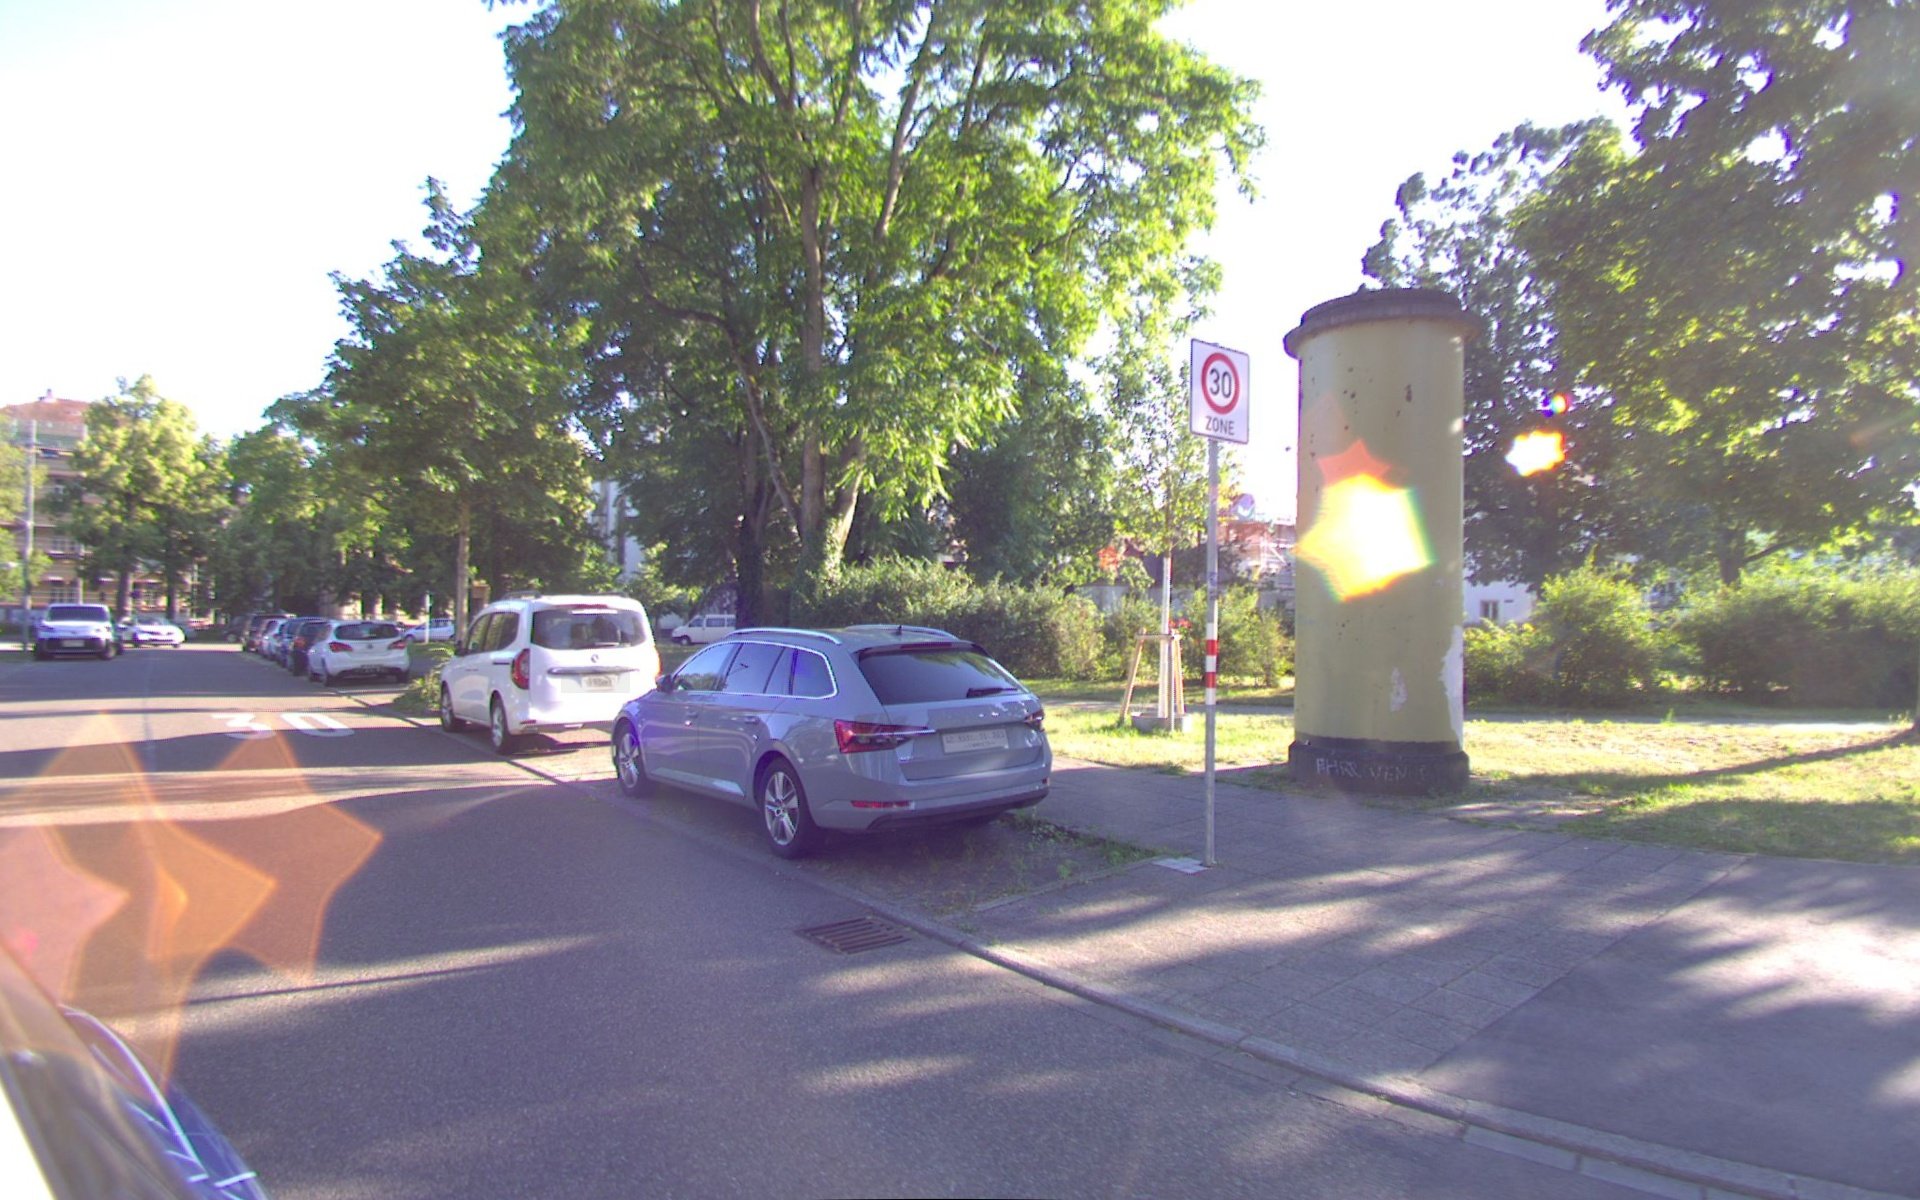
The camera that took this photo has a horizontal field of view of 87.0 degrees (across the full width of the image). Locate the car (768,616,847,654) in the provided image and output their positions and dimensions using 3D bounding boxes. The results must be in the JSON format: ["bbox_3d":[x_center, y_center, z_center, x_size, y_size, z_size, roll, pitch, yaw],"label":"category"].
[{"bbox_3d":[-9.304,2.128,62.224,4.699,2.239,1.854,1,-1,-5],"label":"car"}]

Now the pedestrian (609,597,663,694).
[{"bbox_3d":[-6.065,0.836,18.916,0.705,1.750,0.749,2,-2,-38],"label":"pedestrian"}]

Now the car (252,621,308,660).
[{"bbox_3d":[-27.985,1.648,41.600,1.690,1.521,3.687,2,-2,-37],"label":"car"}]

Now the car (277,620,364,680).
[{"bbox_3d":[-17.686,1.339,27.920,1.690,1.521,3.687,2,-2,-38],"label":"car"}]

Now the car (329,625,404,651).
[{"bbox_3d":[-35.638,2.253,60.844,3.521,1.509,1.691,1,-1,-4],"label":"car"}]

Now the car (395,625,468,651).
[{"bbox_3d":[-31.691,2.256,60.729,3.521,1.509,1.691,1,-1,-4],"label":"car"}]

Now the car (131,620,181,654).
[{"bbox_3d":[-38.775,1.756,48.835,1.754,1.547,4.355,2,-2,-38],"label":"car"}]

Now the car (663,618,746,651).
[{"bbox_3d":[-15.504,2.093,61.589,4.701,1.931,1.798,1,-1,-4],"label":"car"}]

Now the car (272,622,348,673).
[{"bbox_3d":[-20.642,1.467,32.083,1.690,1.521,3.687,2,-2,-37],"label":"car"}]

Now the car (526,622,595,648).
[{"bbox_3d":[-24.084,2.104,61.093,3.521,1.509,1.676,0,-1,-4],"label":"car"}]

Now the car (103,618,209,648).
[{"bbox_3d":[-48.379,1.998,60.989,4.446,1.697,2.286,1,-4,-3],"label":"car"}]

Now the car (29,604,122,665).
[{"bbox_3d":[-29.969,1.141,34.402,2.027,1.945,4.458,2,-2,-37],"label":"car"}]

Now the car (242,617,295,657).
[{"bbox_3d":[-30.561,1.596,44.700,1.690,1.696,3.687,2,-2,-37],"label":"car"}]

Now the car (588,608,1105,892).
[{"bbox_3d":[-1.243,0.881,8.111,1.838,1.570,4.848,2,-2,-38],"label":"car"}]

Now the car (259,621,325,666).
[{"bbox_3d":[-24.138,1.523,36.519,1.690,1.521,3.687,2,-2,-37],"label":"car"}]

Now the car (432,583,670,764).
[{"bbox_3d":[-5.402,0.821,13.052,1.734,1.931,4.247,1,-1,-38],"label":"car"}]

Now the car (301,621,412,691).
[{"bbox_3d":[-14.261,1.276,23.844,1.691,1.521,3.315,2,-2,-40],"label":"car"}]
